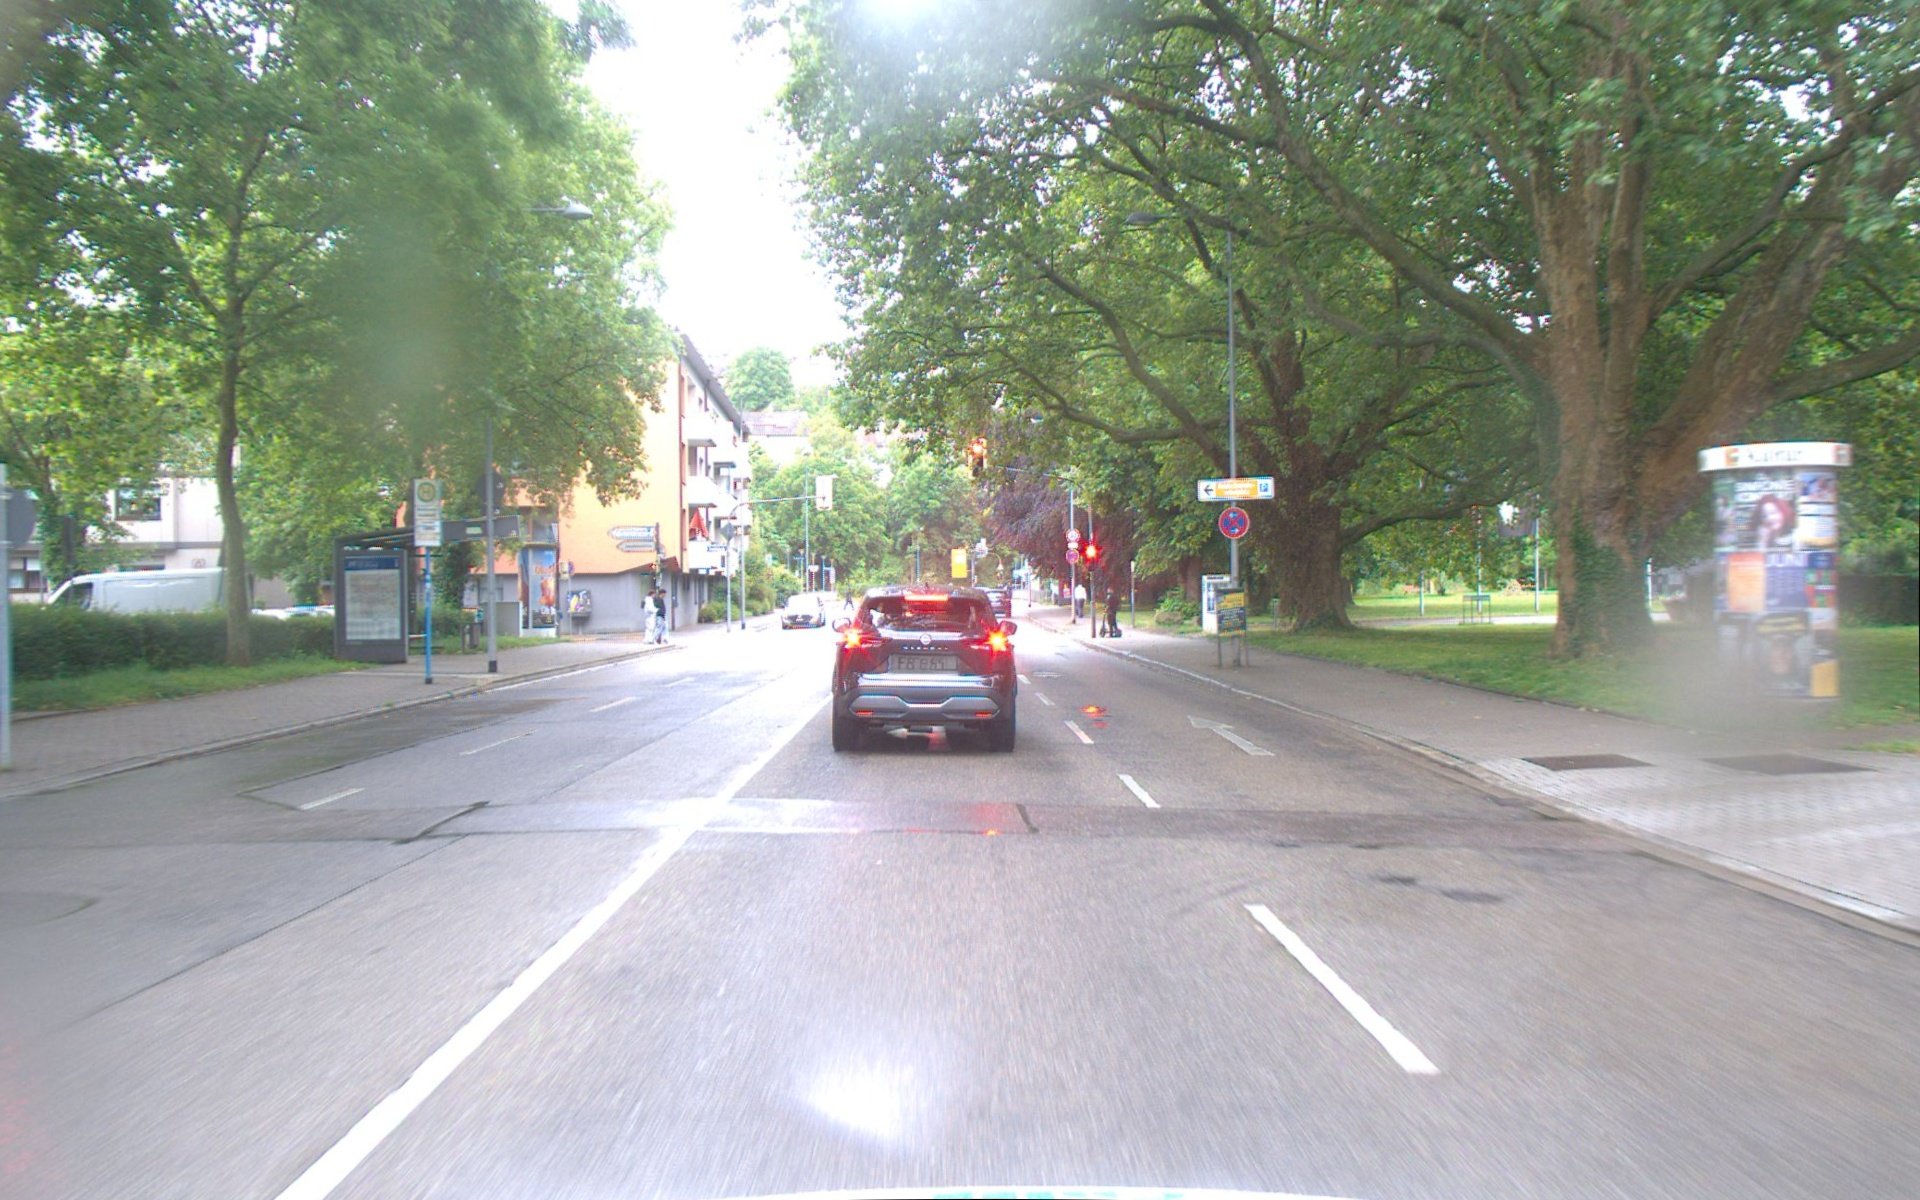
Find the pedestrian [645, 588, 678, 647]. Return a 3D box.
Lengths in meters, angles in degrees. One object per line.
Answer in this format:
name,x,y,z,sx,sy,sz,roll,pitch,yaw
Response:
pedestrian,-9.794,0.570,54.266,1.017,1.909,0.656,0,0,-13

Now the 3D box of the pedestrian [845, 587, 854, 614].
pedestrian,-7.498,0.043,112.242,0.498,1.833,0.619,-1,0,-1

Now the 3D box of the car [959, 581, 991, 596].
car,1.846,-1.383,204.281,3.906,1.697,1.701,2,0,-2

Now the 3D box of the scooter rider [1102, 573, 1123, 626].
scooter rider,5.261,-0.010,57.099,0.629,1.797,0.736,-1,-1,11

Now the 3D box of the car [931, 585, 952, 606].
car,-1.448,-0.337,128.698,1.601,1.559,3.967,-1,0,-1

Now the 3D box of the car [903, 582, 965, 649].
car,-0.733,0.405,46.934,1.664,1.776,3.640,-1,0,-1

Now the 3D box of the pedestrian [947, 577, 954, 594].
pedestrian,-0.973,-1.482,168.740,0.498,1.702,0.658,-1,0,27

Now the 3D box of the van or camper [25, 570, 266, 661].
van or camper,-18.618,0.335,37.970,4.504,1.983,1.999,-1,0,-3

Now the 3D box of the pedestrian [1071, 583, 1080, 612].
pedestrian,6.164,-0.152,88.181,0.382,1.528,0.559,-1,0,-1

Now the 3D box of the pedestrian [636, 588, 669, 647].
pedestrian,-9.959,0.564,53.512,1.017,1.909,0.656,0,0,-13

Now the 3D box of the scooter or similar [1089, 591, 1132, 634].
scooter or similar,5.191,0.431,57.071,1.364,1.471,0.818,-1,-1,11

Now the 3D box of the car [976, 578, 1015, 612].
car,1.968,-0.285,90.508,1.952,1.765,4.002,2,0,4

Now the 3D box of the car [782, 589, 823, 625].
car,-7.100,0.304,74.813,1.760,1.560,3.864,-2,0,-4

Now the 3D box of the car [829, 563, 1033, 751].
car,-0.294,0.514,17.350,1.874,1.709,3.999,1,0,-1

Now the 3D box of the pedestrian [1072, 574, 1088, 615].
pedestrian,6.076,-0.279,83.799,0.710,2.049,0.851,-1,0,-1
